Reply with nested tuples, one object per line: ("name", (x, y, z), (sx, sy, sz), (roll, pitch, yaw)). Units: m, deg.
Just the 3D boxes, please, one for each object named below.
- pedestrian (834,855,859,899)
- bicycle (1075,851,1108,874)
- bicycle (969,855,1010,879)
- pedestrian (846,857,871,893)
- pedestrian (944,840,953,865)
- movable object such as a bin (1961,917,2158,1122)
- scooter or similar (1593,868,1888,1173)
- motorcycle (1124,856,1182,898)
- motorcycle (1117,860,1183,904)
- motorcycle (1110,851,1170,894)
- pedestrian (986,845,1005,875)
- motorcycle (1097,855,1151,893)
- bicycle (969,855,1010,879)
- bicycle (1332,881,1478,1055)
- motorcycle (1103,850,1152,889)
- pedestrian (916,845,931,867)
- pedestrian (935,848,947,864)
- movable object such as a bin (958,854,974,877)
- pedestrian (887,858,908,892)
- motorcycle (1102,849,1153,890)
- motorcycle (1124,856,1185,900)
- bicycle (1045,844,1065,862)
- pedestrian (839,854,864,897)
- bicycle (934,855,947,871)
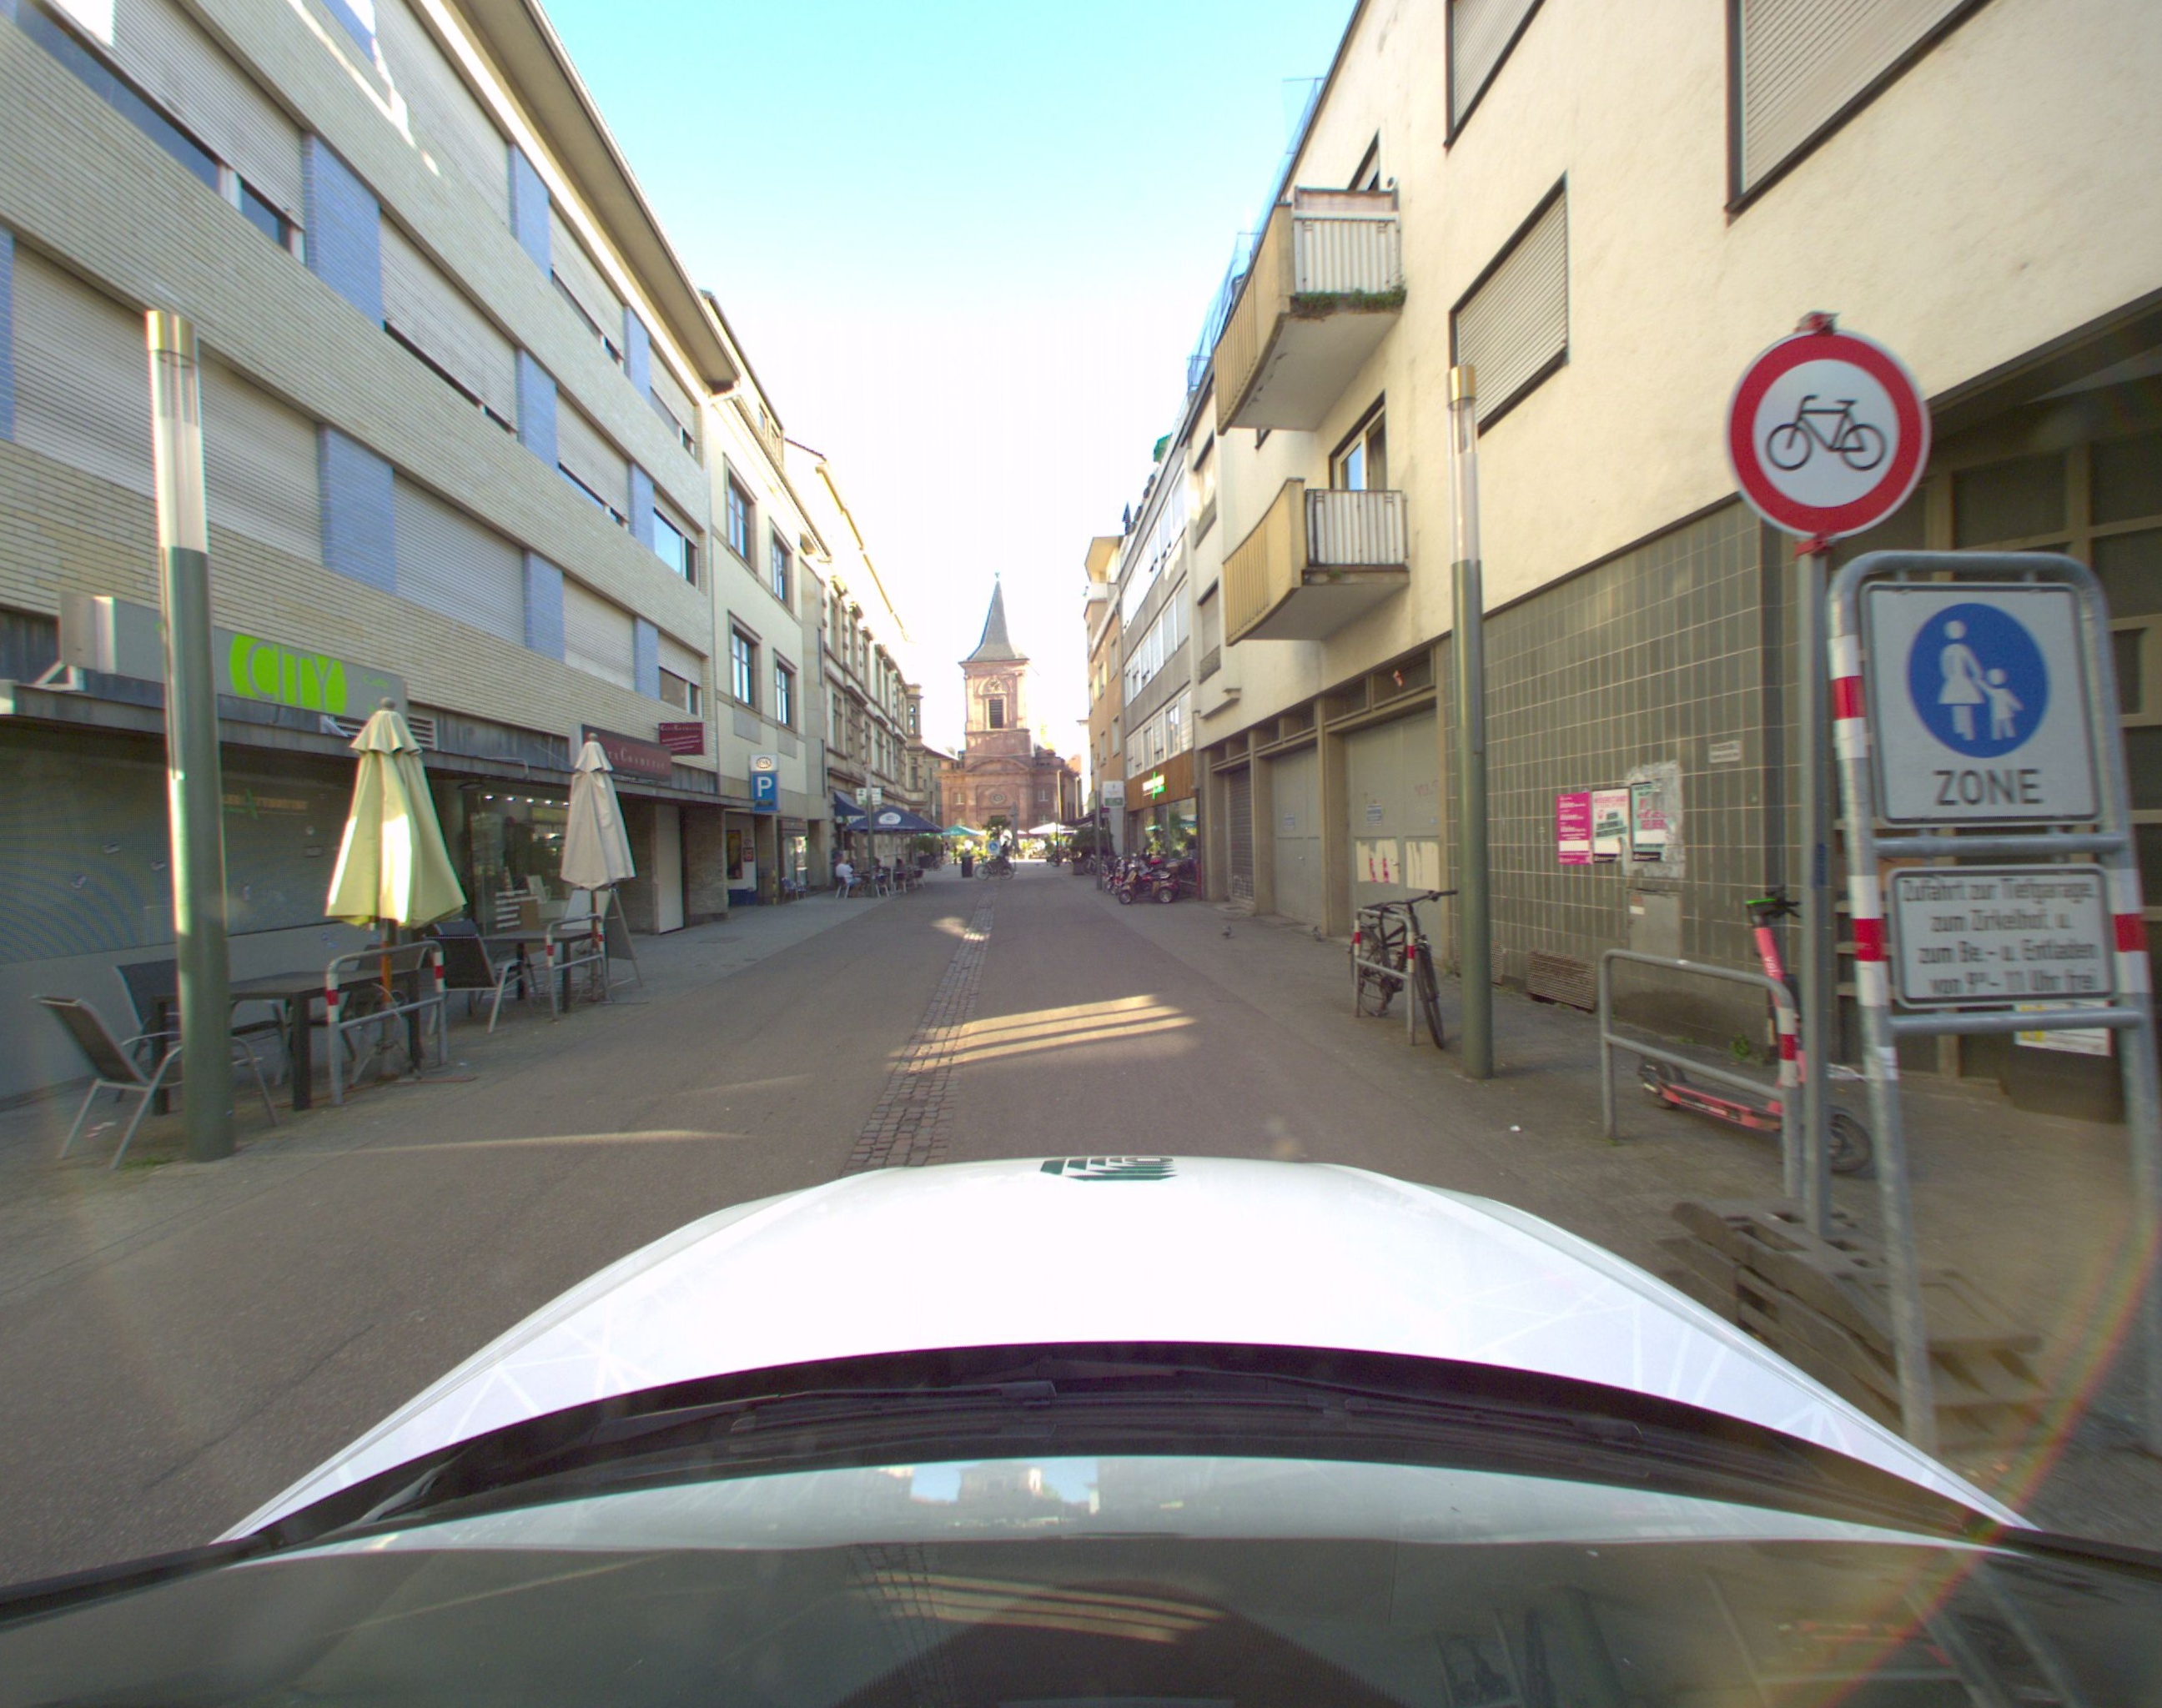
("pedestrian", (-7.498, 0.729, 26.032), (0.710, 1.368, 0.715), (-2, 1, -18))
("bicycle", (0.466, 0.384, 36.772), (1.458, 1.004, 0.573), (-2, 1, 1))
("bicycle", (-4.132, 0.604, 36.849), (1.823, 1.004, 0.380), (-2, 1, -9))
("pedestrian", (-7.870, 0.739, 28.860), (0.766, 1.233, 0.827), (-2, 1, -13))
("pedestrian", (-9.701, -0.094, 59.776), (0.615, 1.808, 0.613), (-2, 1, -10))
("movable object such as a bin", (5.075, 0.820, 4.260), (0.534, 0.923, 0.516), (-2, 1, 37))
("scooter or similar", (3.191, 0.712, 4.070), (0.307, 1.252, 1.235), (-2, 0, -9))
("motorcycle", (1.959, 0.616, 22.144), (1.473, 1.075, 0.413), (-2, 0, 12))
("motorcycle", (1.734, 0.695, 20.373), (1.553, 1.041, 0.374), (-2, 0, 12))
("motorcycle", (1.690, 0.524, 23.409), (1.613, 1.175, 0.482), (-2, 0, 12))
("pedestrian", (-4.324, 0.284, 41.354), (0.882, 1.464, 0.729), (-2, 1, -5))
("motorcycle", (1.277, 0.589, 24.156), (1.473, 1.075, 0.413), (-2, 0, 12))
("bicycle", (-4.185, 0.585, 37.253), (1.823, 1.004, 0.380), (-2, 1, -9))
("bicycle", (2.483, 0.807, 6.436), (0.445, 1.140, 1.709), (-2, -1, 0))
("motorcycle", (1.505, 0.495, 26.049), (1.475, 1.181, 0.413), (-2, 0, 9))
("pedestrian", (-11.337, 0.114, 58.648), (0.777, 1.555, 0.538), (-2, 1, 23))
("pedestrian", (-10.778, 0.176, 62.723), (0.698, 1.218, 0.719), (-2, 1, 0))
("movable object such as a bin", (-5.634, 0.571, 39.931), (0.721, 1.074, 0.373), (-2, 1, -7))
("pedestrian", (-6.655, 0.752, 29.562), (0.693, 1.215, 0.580), (-2, 1, -14))
("motorcycle", (1.424, 0.471, 24.983), (1.475, 1.181, 0.413), (-2, 0, 9))
("motorcycle", (1.913, 0.624, 21.180), (1.506, 1.075, 0.413), (-2, 0, 12))
("bicycle", (-2.006, -0.086, 62.930), (1.598, 1.308, 0.362), (-2, 1, -35))
("pedestrian", (-7.618, 0.708, 27.042), (0.719, 1.368, 0.706), (-2, 1, -18))
("bicycle", (-8.396, 0.535, 48.697), (0.455, 0.849, 2.145), (-2, 1, -2))
